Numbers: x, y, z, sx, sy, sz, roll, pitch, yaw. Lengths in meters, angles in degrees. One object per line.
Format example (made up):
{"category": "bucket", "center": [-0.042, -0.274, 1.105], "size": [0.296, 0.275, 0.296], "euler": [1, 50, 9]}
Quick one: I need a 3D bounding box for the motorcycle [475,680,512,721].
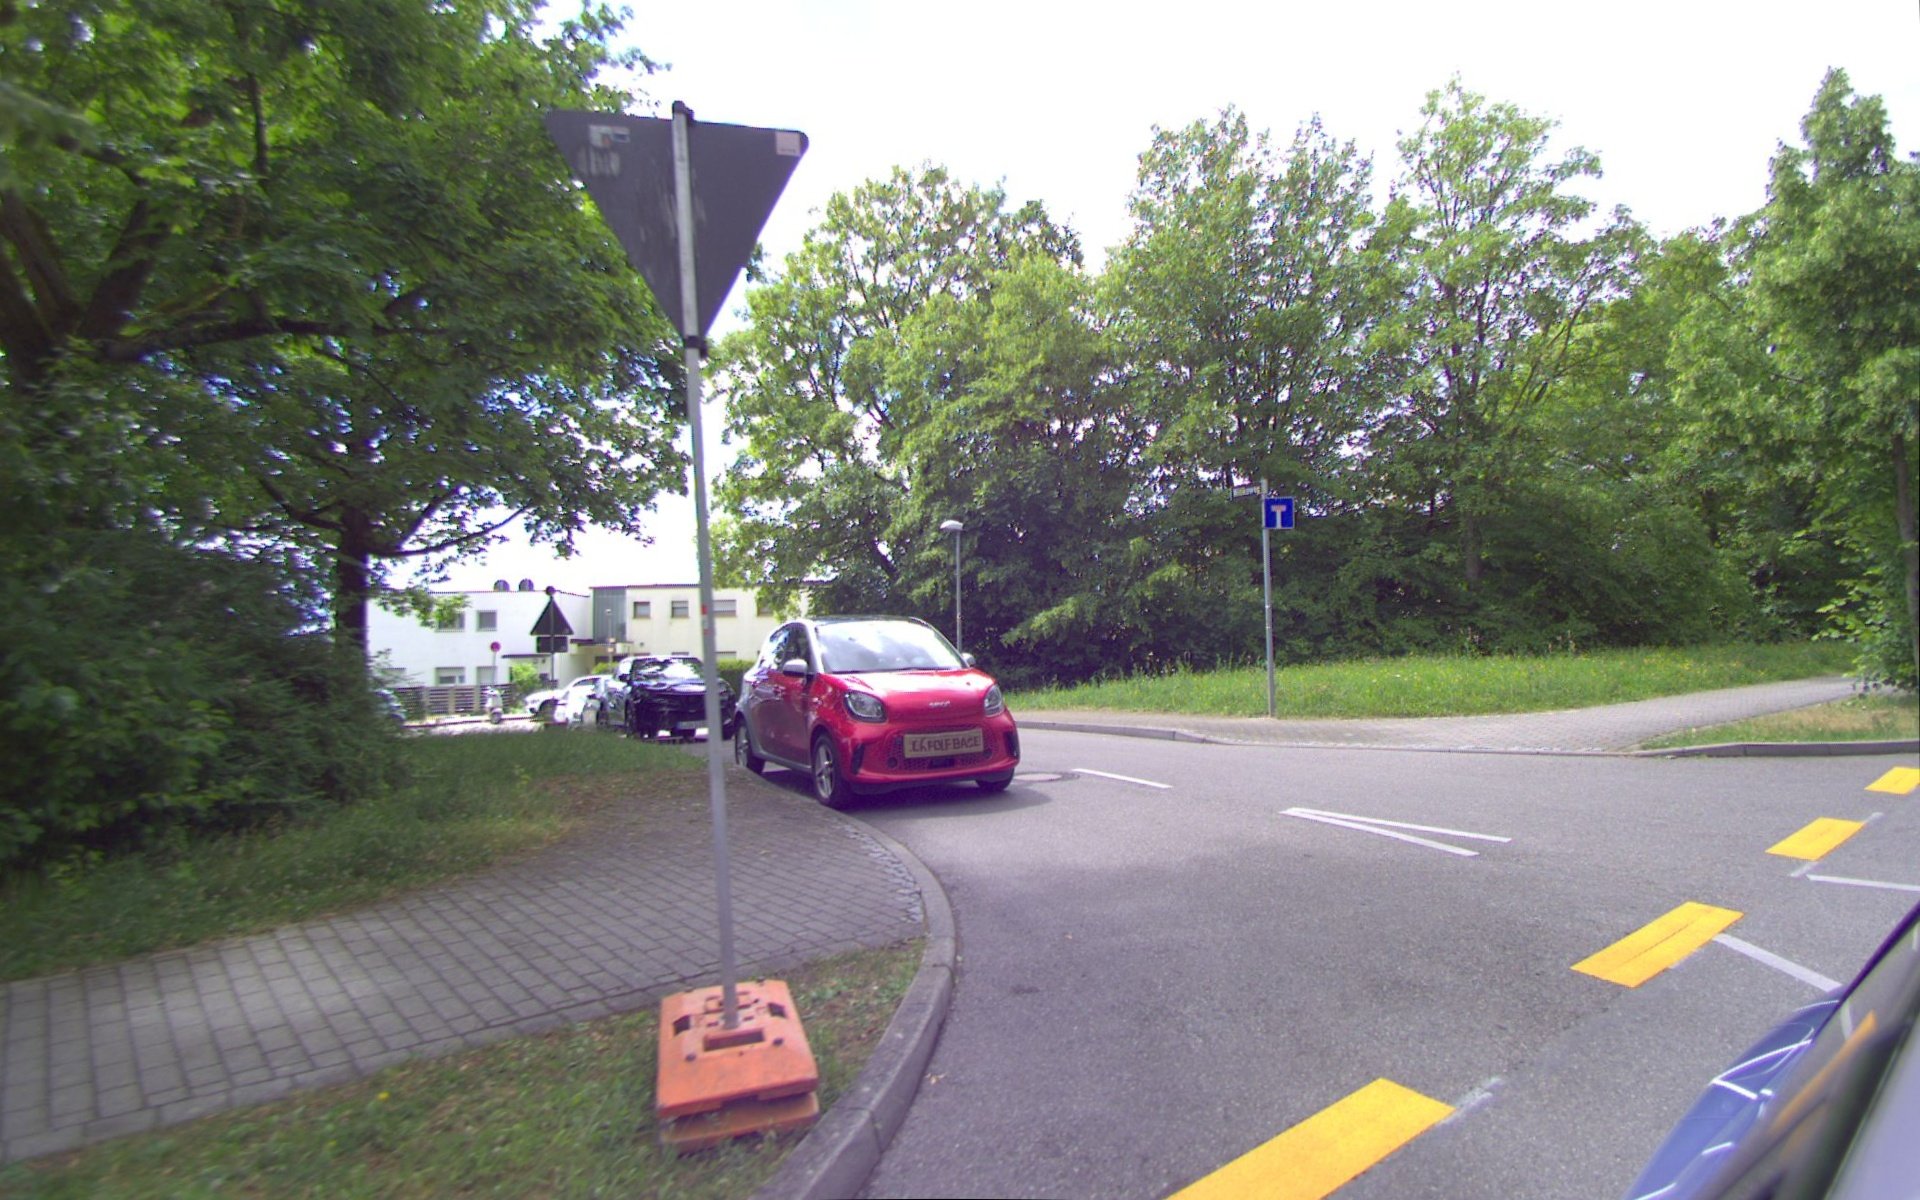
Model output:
{"category": "motorcycle", "center": [-17.984, 3.834, 38.965], "size": [0.826, 1.319, 2.989], "euler": [-4, 1, -32]}

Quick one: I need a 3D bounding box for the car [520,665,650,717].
{"category": "car", "center": [-14.752, 3.554, 39.843], "size": [4.599, 1.758, 2.002], "euler": [-1, -5, -26]}

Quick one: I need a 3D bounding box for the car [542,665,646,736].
{"category": "car", "center": [-9.658, 2.659, 26.542], "size": [1.960, 1.617, 4.001], "euler": [-1, -6, -29]}

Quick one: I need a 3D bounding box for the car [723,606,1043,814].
{"category": "car", "center": [-0.901, 0.829, 9.312], "size": [1.745, 1.500, 3.552], "euler": [0, -1, -26]}

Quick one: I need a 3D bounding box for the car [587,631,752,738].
{"category": "car", "center": [-5.268, 1.554, 17.994], "size": [1.960, 1.617, 4.001], "euler": [-1, -6, -29]}

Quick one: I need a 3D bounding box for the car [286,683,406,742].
{"category": "car", "center": [-21.805, 3.953, 36.082], "size": [3.533, 1.618, 1.739], "euler": [-4, -2, -30]}

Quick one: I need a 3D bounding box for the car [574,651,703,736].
{"category": "car", "center": [-7.174, 2.111, 22.329], "size": [1.960, 1.617, 4.001], "euler": [-1, -6, -29]}
